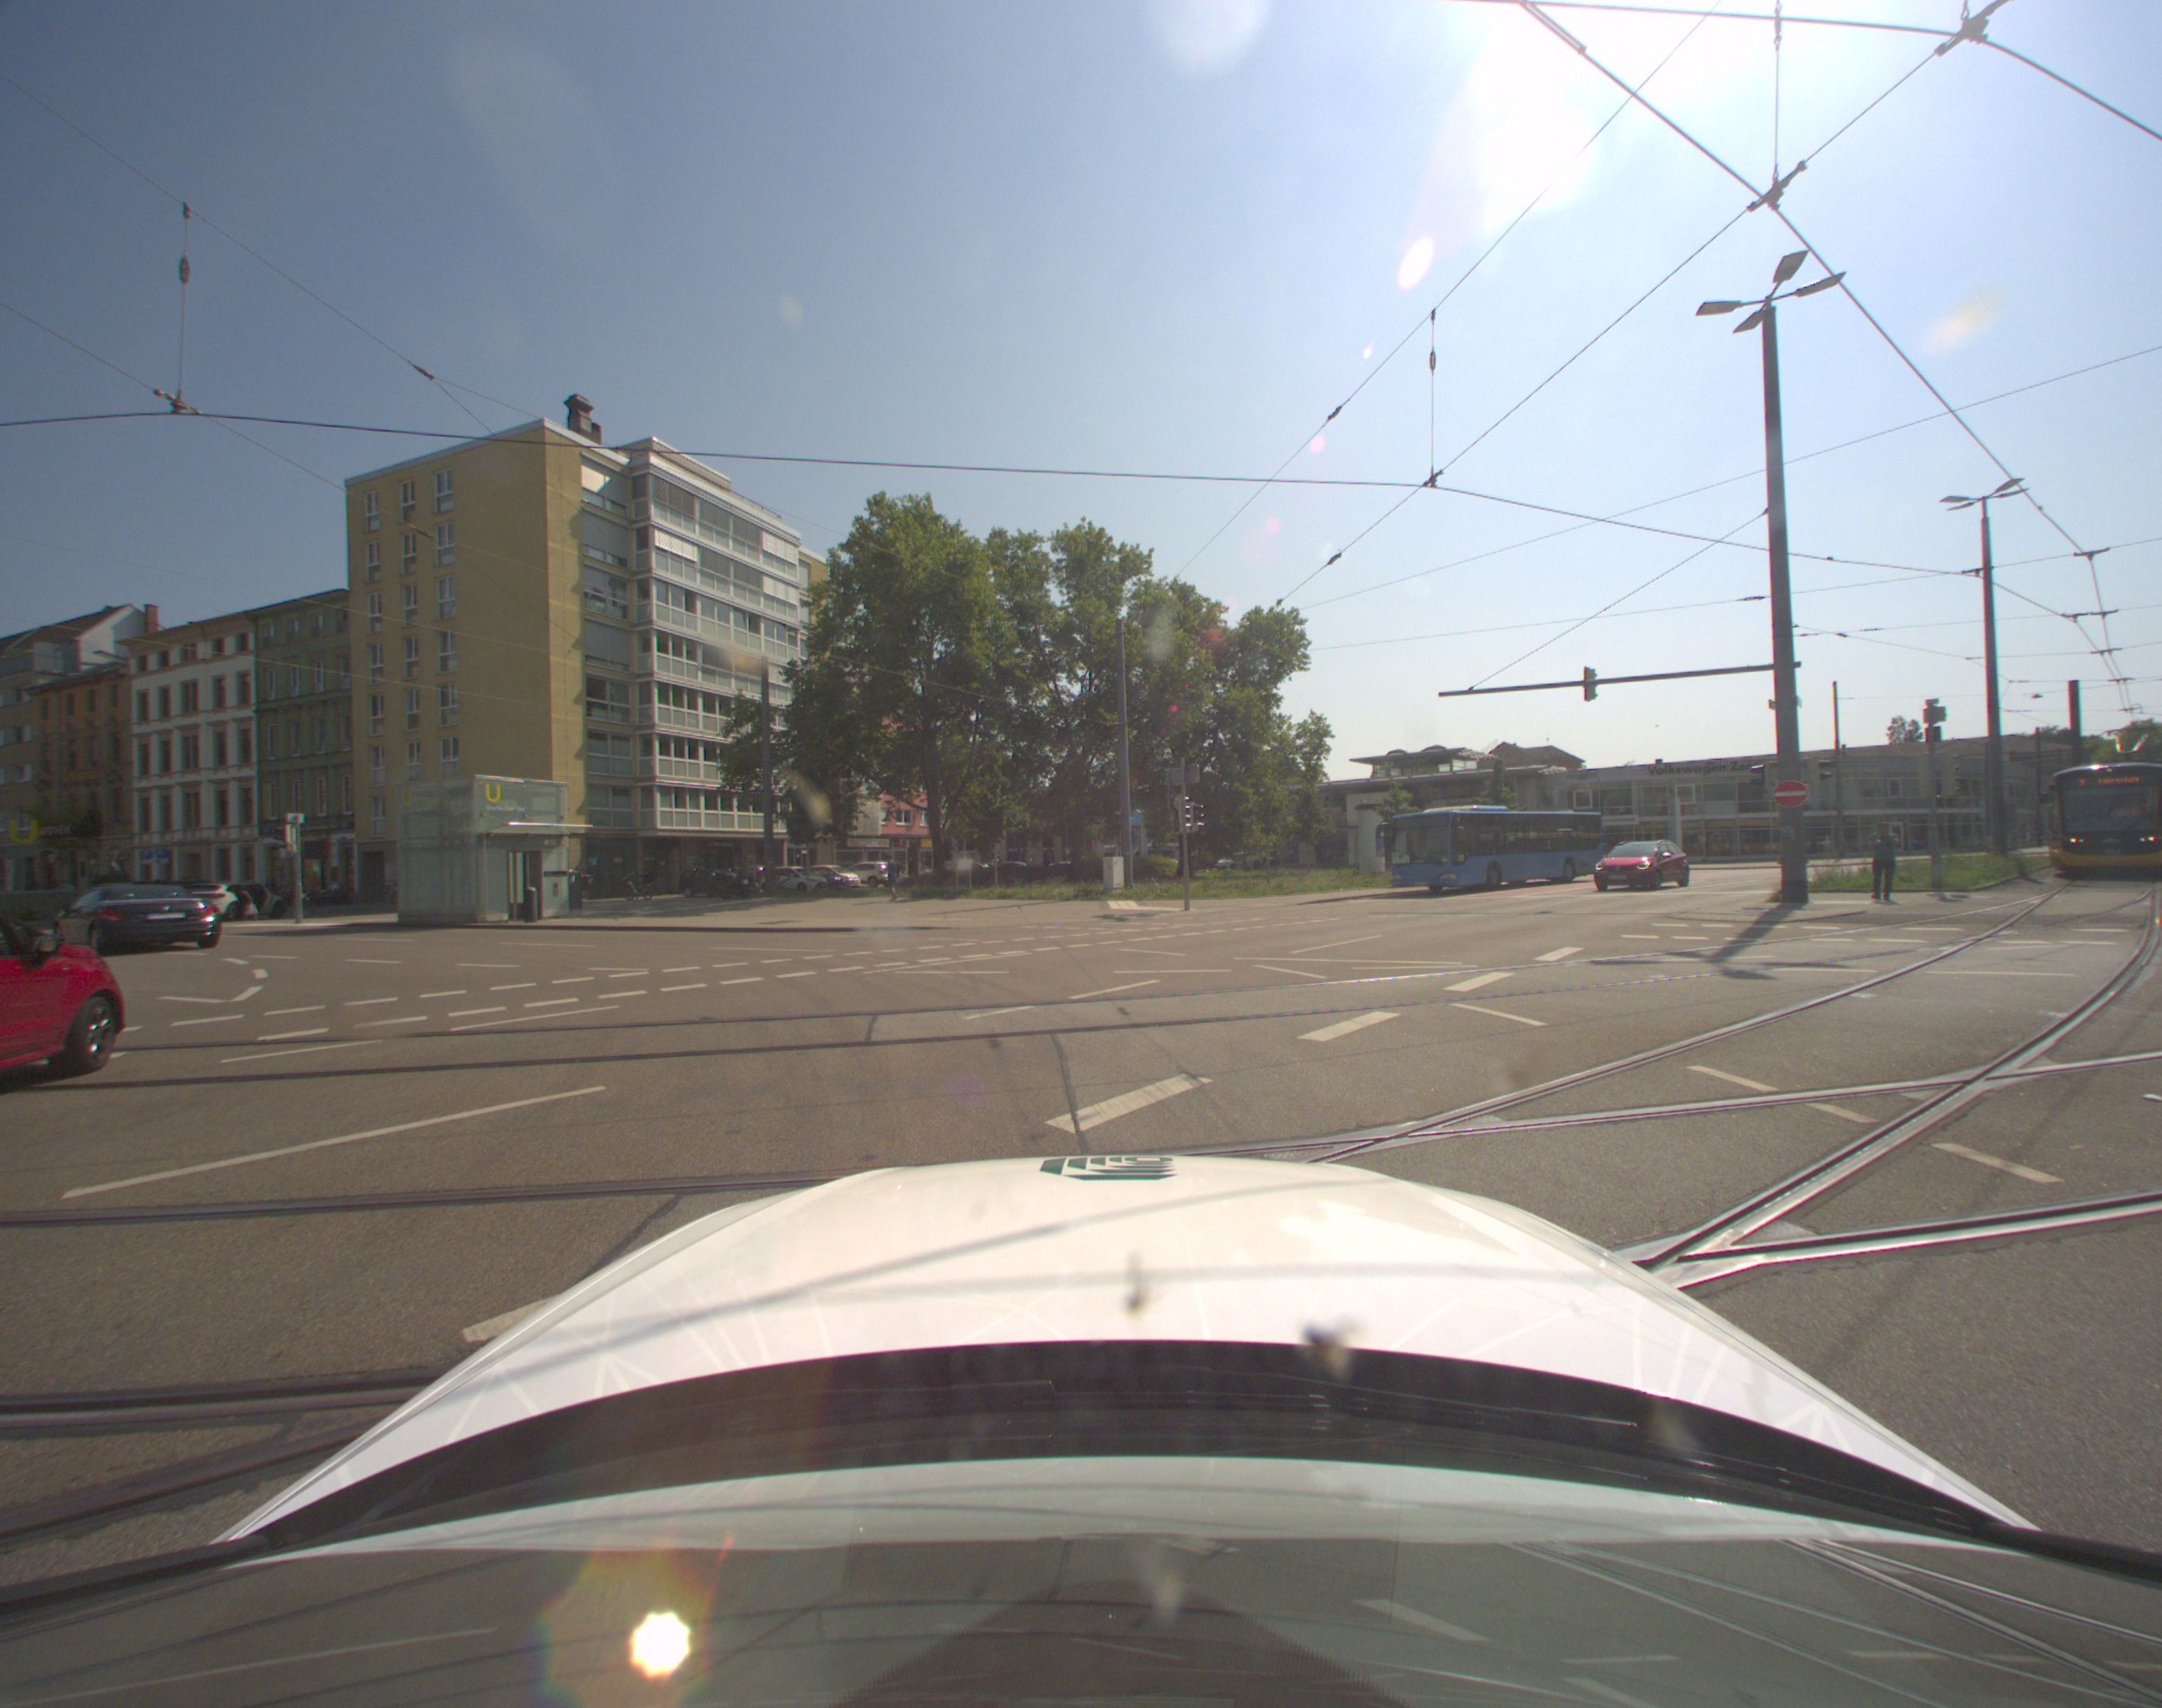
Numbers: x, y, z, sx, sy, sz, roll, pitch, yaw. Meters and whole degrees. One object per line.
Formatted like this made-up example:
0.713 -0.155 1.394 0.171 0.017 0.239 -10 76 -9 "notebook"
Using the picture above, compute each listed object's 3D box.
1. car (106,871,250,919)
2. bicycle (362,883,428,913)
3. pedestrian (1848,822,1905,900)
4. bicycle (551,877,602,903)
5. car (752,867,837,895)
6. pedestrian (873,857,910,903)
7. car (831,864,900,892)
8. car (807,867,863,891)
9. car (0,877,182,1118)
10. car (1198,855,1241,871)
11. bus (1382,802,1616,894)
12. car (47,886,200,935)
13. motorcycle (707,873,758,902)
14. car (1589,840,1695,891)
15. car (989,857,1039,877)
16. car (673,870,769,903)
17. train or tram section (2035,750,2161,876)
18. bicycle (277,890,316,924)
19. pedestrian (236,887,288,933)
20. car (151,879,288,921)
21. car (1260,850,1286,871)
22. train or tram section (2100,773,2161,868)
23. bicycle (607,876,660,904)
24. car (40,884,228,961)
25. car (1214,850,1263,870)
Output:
-36.132 1.582 32.776 1.986 1.687 4.363 -1 0 -19 "car"
-34.743 2.238 41.226 3.325 1.404 0.908 -2 0 19 "bicycle"
17.726 0.154 18.164 0.794 1.687 0.724 -1 0 36 "pedestrian"
-24.182 1.735 39.043 0.589 1.143 1.983 -2 0 37 "bicycle"
-16.247 1.527 46.168 4.198 1.470 1.915 -2 0 19 "car"
-6.801 0.923 29.206 0.939 1.609 0.797 -3 0 18 "pedestrian"
-14.075 1.548 53.248 4.027 1.666 1.799 -2 0 19 "car"
-15.369 1.557 50.974 3.063 1.429 1.410 -2 0 19 "car"
-8.171 0.998 5.257 1.771 1.618 4.047 -2 -1 -26 "car"
13.842 0.877 81.329 4.020 1.508 1.977 -2 0 -39 "car"
16.605 -0.297 31.716 12.132 3.064 2.705 -1 0 -35 "bus"
-39.839 2.285 34.070 2.044 1.713 4.635 -2 0 -19 "car"
-14.315 1.388 33.468 2.085 1.137 0.918 -2 -1 34 "motorcycle"
18.006 0.344 26.096 3.789 1.472 1.612 -1 0 -37 "car"
-6.081 1.214 74.101 4.027 1.666 1.799 -2 0 19 "car"
-18.207 1.637 41.174 4.198 1.470 1.915 -2 0 19 "car"
35.138 -1.286 27.174 12.262 3.560 2.569 -2 0 -33 "train or tram section"
-32.502 2.196 33.728 1.769 1.296 0.477 -3 0 23 "bicycle"
-31.497 2.122 31.336 0.900 1.704 1.036 -1 -2 -5 "pedestrian"
-33.078 1.754 31.441 1.804 1.500 3.767 0 -2 -14 "car"
19.475 0.600 82.318 2.309 2.013 6.837 0 0 16 "car"
45.438 -1.383 33.820 12.262 3.560 2.569 -2 0 -33 "train or tram section"
-20.934 1.700 38.101 2.406 1.238 0.799 -2 -1 21 "bicycle"
-20.313 1.405 17.457 3.949 1.431 1.807 -2 0 28 "car"
14.909 0.528 77.247 4.259 1.753 1.705 -2 0 -19 "car"
